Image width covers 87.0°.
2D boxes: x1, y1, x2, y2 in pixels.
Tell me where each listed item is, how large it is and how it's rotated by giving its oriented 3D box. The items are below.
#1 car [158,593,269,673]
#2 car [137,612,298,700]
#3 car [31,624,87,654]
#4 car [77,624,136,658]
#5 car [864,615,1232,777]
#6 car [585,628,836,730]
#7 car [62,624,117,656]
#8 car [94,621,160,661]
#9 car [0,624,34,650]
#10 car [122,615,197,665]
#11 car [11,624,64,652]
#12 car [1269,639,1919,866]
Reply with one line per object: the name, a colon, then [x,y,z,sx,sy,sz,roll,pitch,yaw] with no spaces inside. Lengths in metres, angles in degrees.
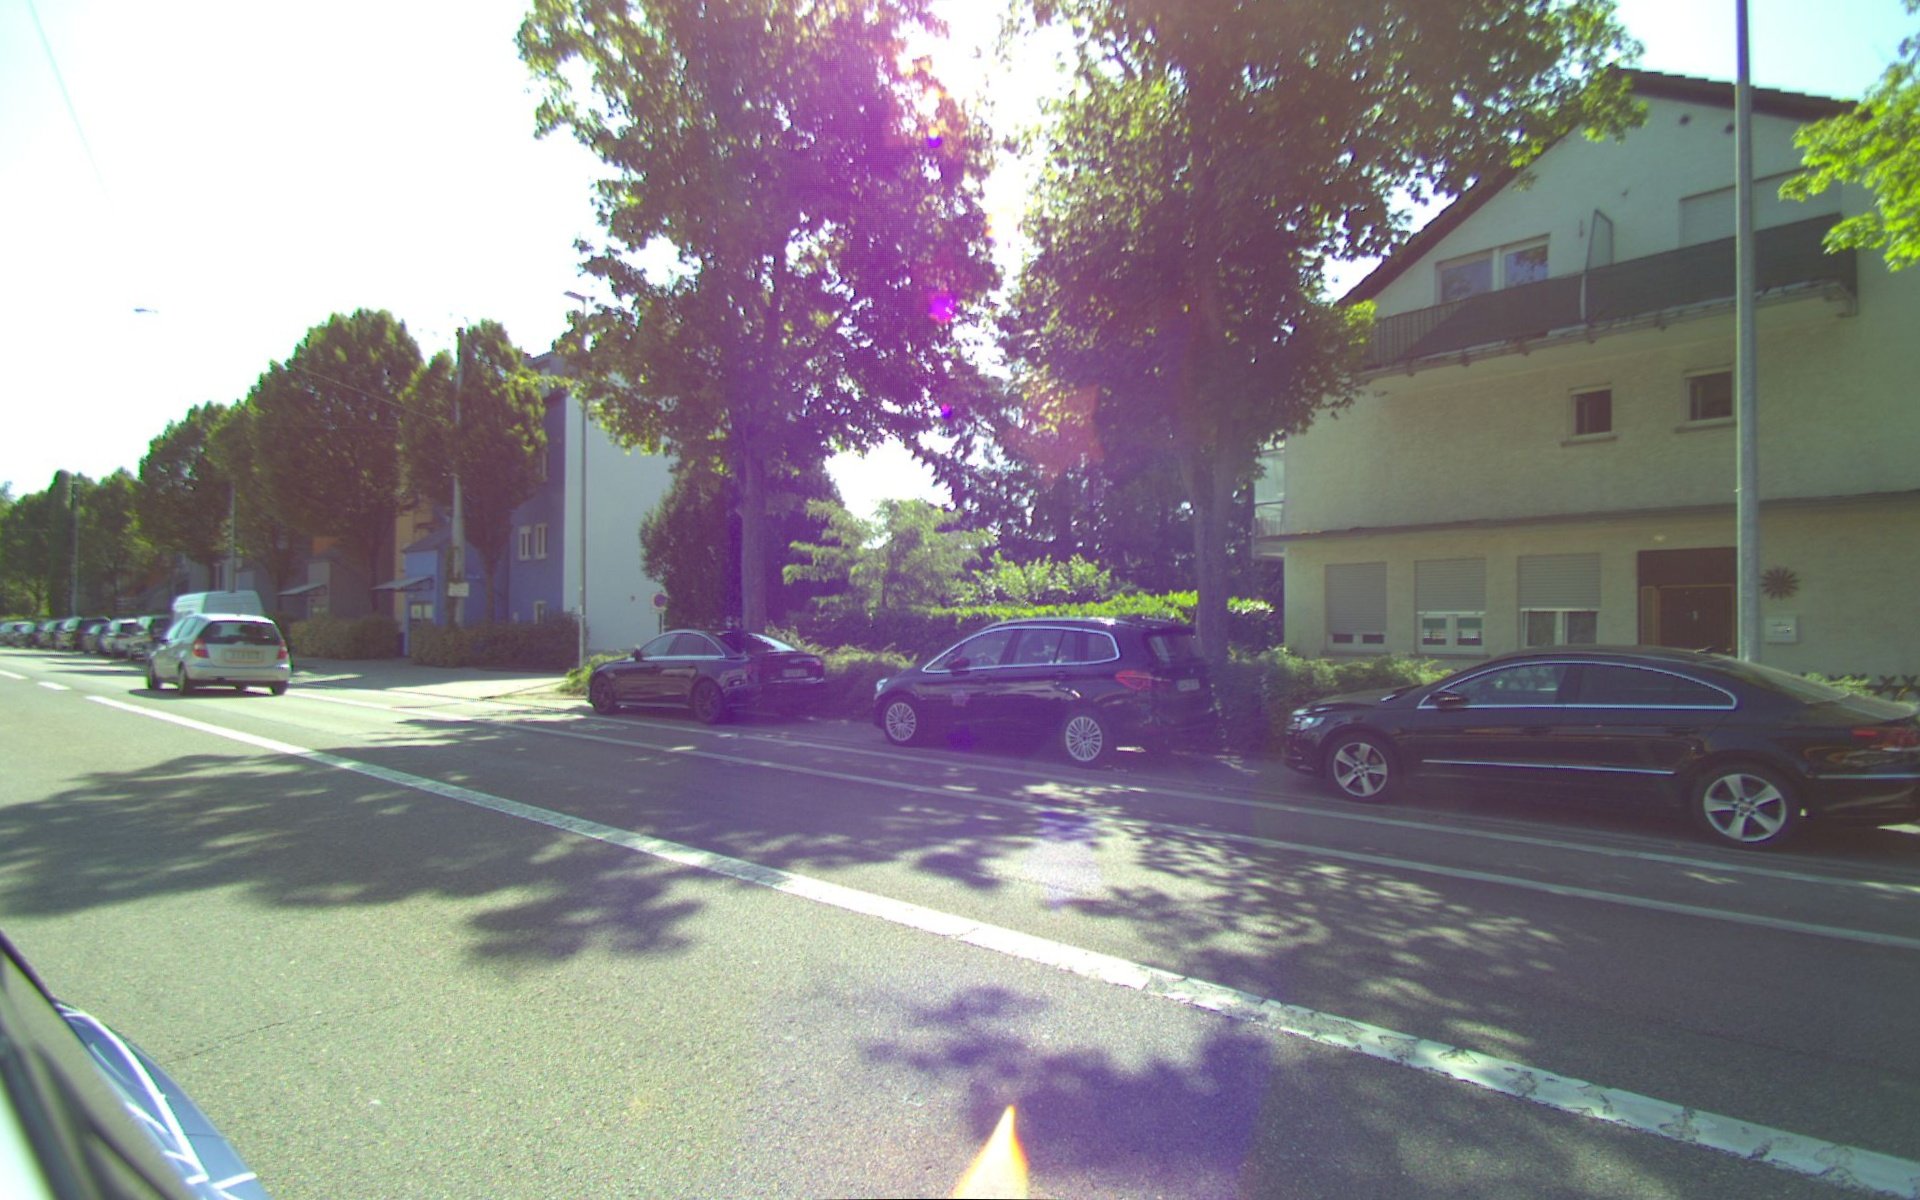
car: [-27.409,1.170,37.066,6.083,2.671,1.990,-1,1,42]
car: [-15.223,1.106,20.683,3.999,1.608,1.823,-1,-4,42]
car: [-50.403,2.156,56.605,3.761,1.513,1.659,-1,1,38]
car: [-42.016,1.983,49.791,3.765,1.513,1.657,-1,1,41]
car: [0.934,1.020,12.172,4.238,1.625,1.658,-1,-3,39]
car: [-4.180,1.202,16.560,4.453,1.447,1.658,-1,-3,39]
car: [-45.535,2.052,52.904,3.765,1.513,1.657,-1,1,41]
car: [-38.000,1.829,46.150,4.146,1.681,1.657,-1,1,41]
car: [-60.290,2.313,64.186,3.761,1.513,1.659,-1,1,38]
car: [-33.683,1.645,42.522,4.456,1.951,1.657,-1,1,41]
car: [-54.681,2.254,59.969,3.761,1.513,1.659,-1,1,38]
car: [5.121,1.051,8.495,4.580,1.406,1.678,-1,-3,43]
